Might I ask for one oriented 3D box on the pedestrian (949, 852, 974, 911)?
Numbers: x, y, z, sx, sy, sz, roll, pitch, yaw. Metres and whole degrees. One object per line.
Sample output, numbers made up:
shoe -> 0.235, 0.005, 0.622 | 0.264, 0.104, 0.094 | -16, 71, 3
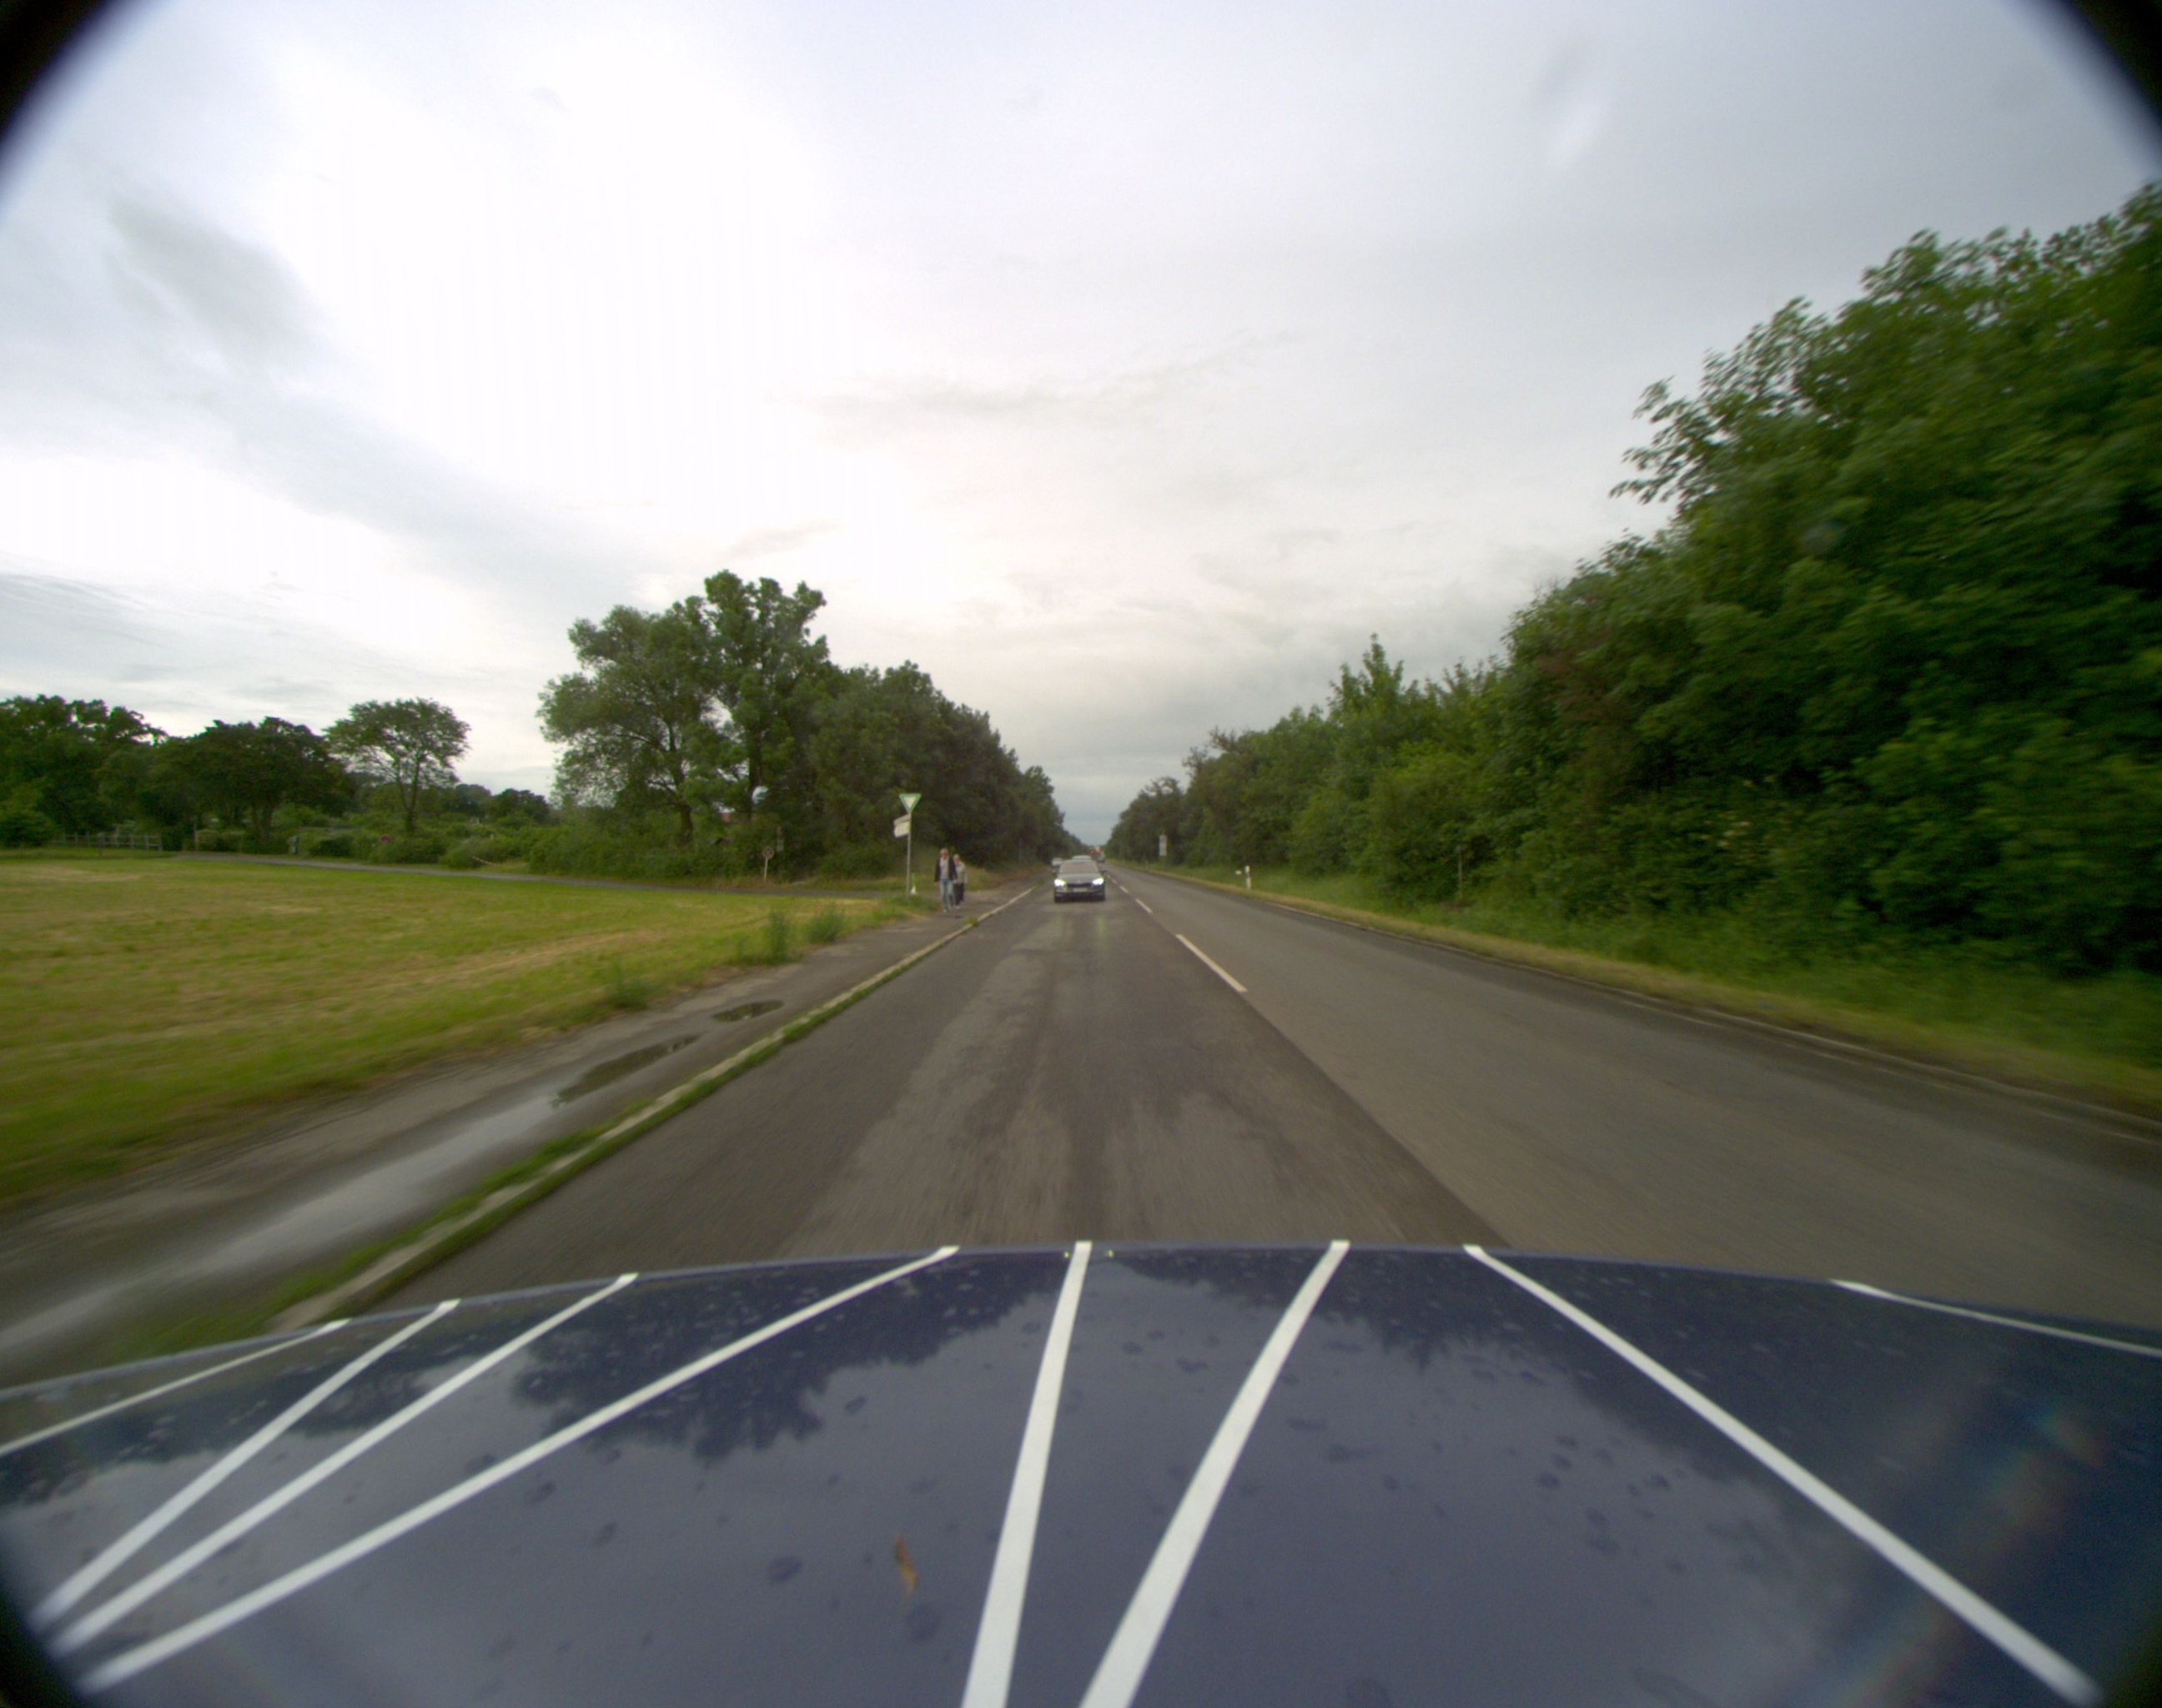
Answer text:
pedestrian -> -3.656, 0.827, 23.239 | 0.663, 1.768, 0.759 | 0, 1, -16

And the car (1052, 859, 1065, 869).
car -> -3.430, 1.480, 115.083 | 1.748, 1.460, 4.220 | 1, 1, 1

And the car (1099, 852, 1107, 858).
car -> 5.481, 0.210, 193.107 | 1.876, 1.480, 4.573 | 2, 1, 0

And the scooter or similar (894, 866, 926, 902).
scooter or similar -> -5.847, 1.007, 25.956 | 1.323, 1.199, 0.375 | 0, 1, 41

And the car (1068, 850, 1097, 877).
car -> 0.117, 0.636, 52.687 | 1.915, 1.690, 3.913 | -3, 1, 0

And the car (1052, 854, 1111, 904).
car -> 0.021, 0.832, 27.594 | 1.915, 1.543, 4.354 | -3, 0, 0

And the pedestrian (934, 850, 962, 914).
pedestrian -> -3.842, 0.790, 21.909 | 0.696, 1.817, 0.800 | 0, 1, -16
